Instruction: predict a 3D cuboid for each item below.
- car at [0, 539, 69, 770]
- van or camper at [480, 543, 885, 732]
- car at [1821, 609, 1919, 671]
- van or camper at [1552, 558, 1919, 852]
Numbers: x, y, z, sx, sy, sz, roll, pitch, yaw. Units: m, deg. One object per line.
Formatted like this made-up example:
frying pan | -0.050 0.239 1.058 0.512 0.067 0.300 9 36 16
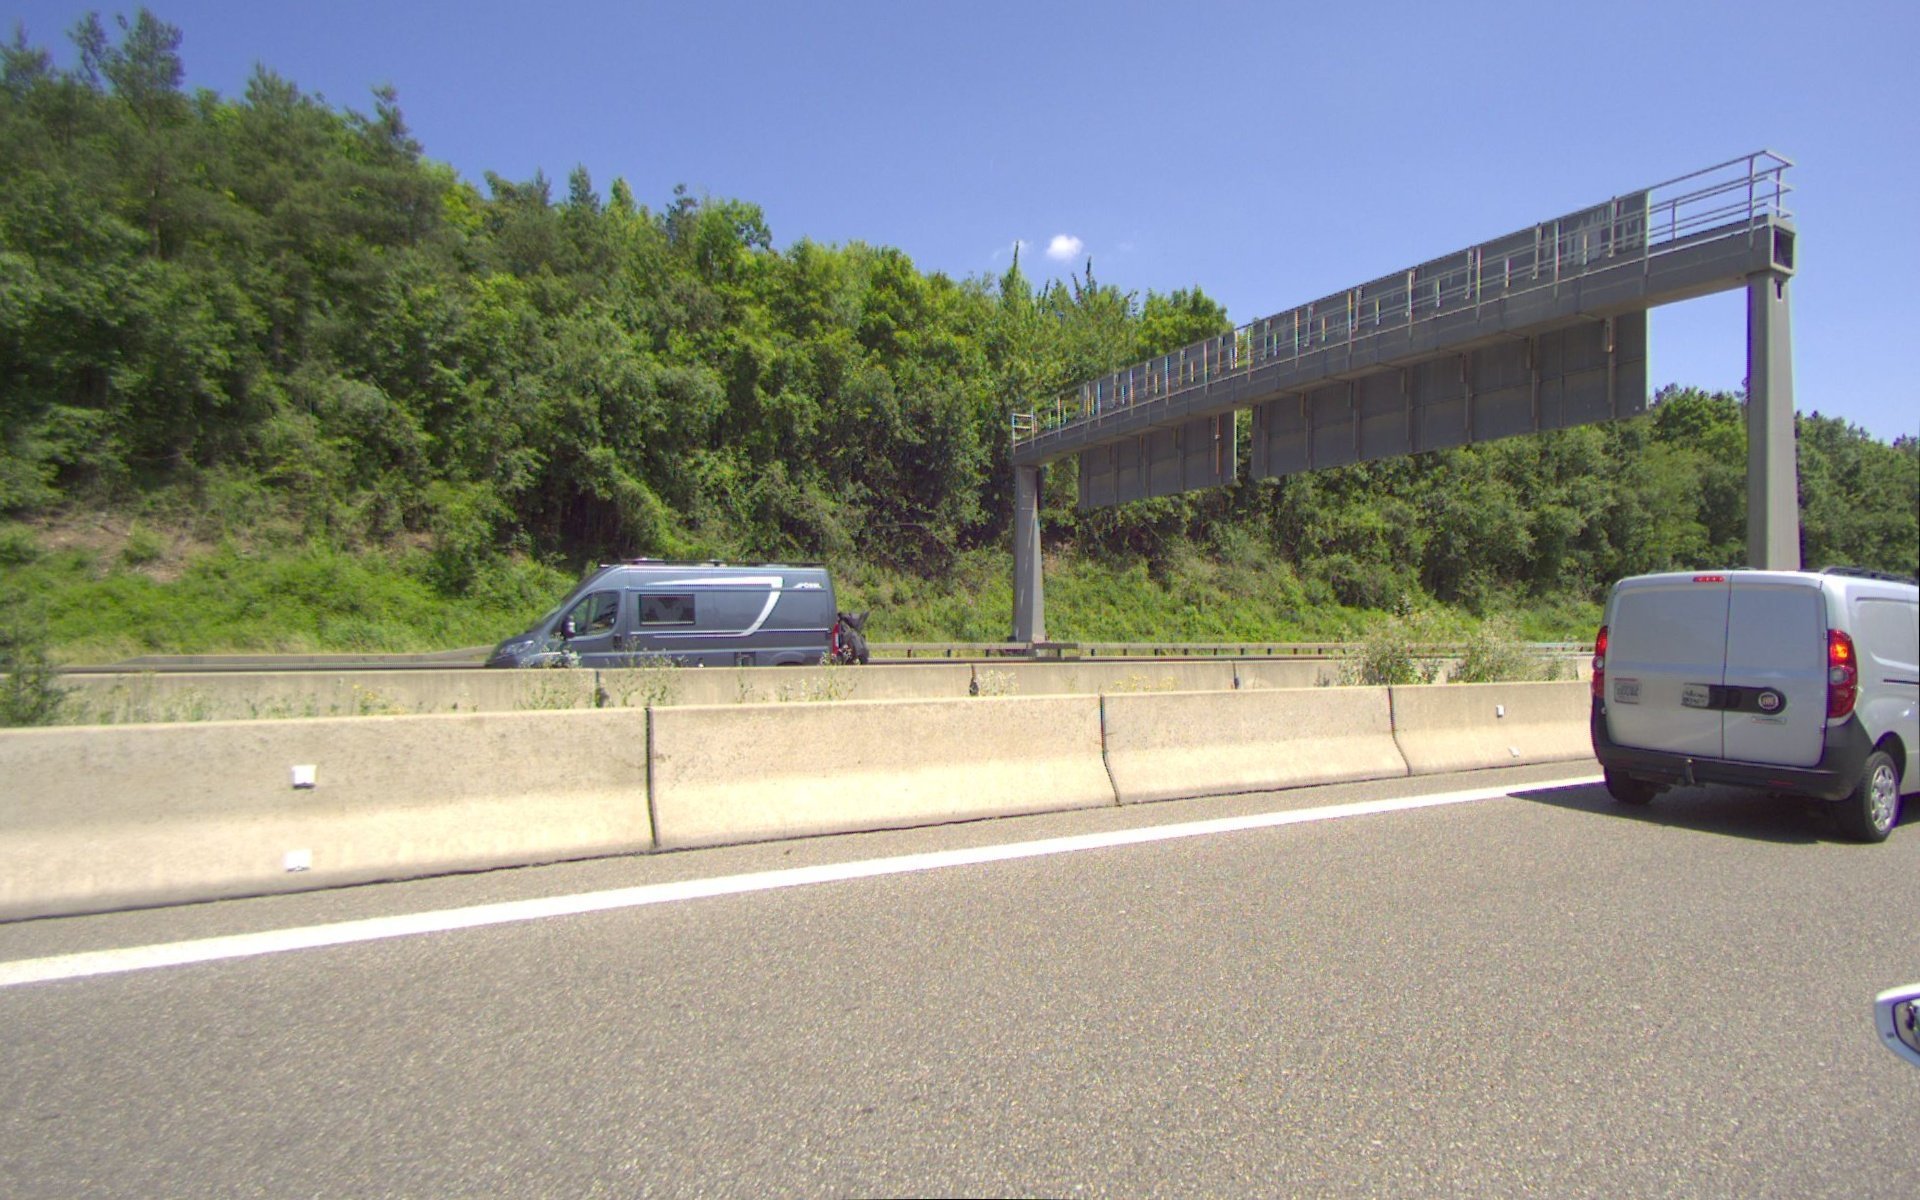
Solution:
car | -9.423 0.359 6.996 4.462 1.714 1.984 1 -1 -31
van or camper | -4.814 0.712 17.978 6.577 2.896 2.143 3 -1 -31
car | 32.323 1.370 35.149 4.220 2.040 1.985 1 -1 -29
van or camper | 7.198 0.719 8.441 4.507 1.905 1.844 1 0 -30
